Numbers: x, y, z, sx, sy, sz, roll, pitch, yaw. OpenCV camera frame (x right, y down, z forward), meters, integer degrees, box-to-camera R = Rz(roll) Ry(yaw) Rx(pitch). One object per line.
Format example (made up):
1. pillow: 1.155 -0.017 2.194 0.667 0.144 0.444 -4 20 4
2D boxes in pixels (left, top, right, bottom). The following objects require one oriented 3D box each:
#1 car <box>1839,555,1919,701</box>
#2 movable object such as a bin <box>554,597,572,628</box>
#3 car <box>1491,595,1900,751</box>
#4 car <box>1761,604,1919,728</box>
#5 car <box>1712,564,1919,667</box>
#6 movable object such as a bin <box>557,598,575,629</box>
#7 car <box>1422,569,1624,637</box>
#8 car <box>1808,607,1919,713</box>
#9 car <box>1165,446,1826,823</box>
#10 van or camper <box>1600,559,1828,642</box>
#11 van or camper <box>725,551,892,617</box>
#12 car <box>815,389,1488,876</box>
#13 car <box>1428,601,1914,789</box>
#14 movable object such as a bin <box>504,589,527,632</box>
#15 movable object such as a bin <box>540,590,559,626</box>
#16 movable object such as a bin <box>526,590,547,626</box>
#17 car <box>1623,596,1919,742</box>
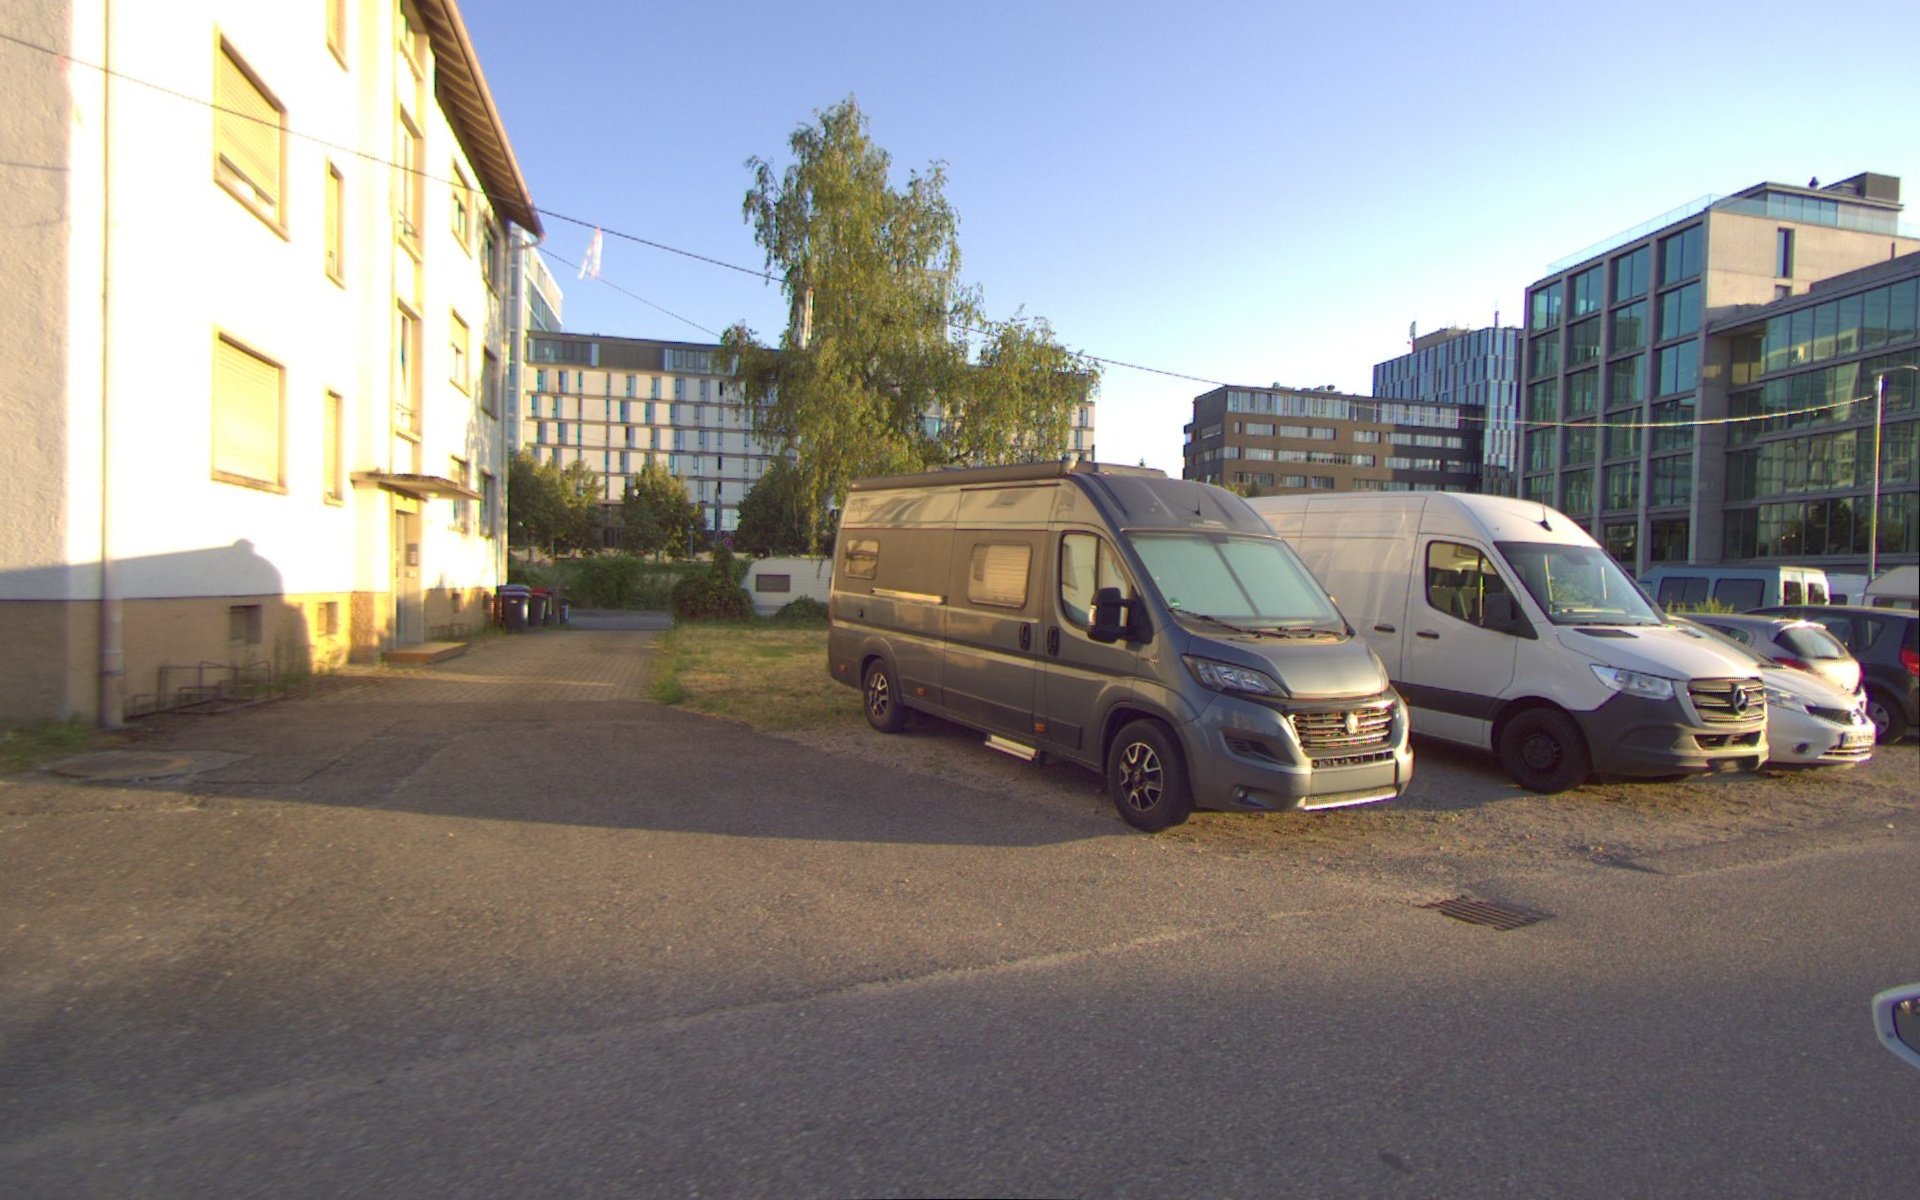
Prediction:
1. car: 18.631 0.602 16.466 2.374 2.568 5.881 1 2 -19
2. movable object such as a bin: -11.714 0.370 29.610 0.436 0.927 0.324 1 0 -30
3. car: 9.303 0.828 13.090 1.725 1.612 3.913 3 0 -25
4. car: 14.180 0.989 14.230 1.720 1.612 4.123 1 2 -17
5. car: 25.856 0.354 29.253 2.186 2.709 6.242 1 2 -15
6. movable object such as a bin: -11.853 0.402 30.202 0.436 0.927 0.324 1 0 -30
7. car: 14.004 0.018 25.316 1.948 1.496 4.368 1 2 -14
8. car: 16.411 1.061 15.947 1.723 1.612 4.117 2 2 -22
9. car: 4.807 0.123 10.352 2.024 2.750 5.803 1 3 -27
10. van or camper: 19.060 -0.045 25.658 1.901 1.916 4.335 1 2 -16
11. van or camper: -5.179 -0.520 34.347 5.488 2.087 1.769 1 0 -15
12. car: 0.957 0.059 8.939 2.089 2.749 6.355 2 2 -31
13. car: 7.362 0.855 10.881 1.765 1.527 3.914 2 1 -25
14. movable object such as a bin: -10.074 0.241 22.771 0.436 0.981 0.324 1 0 -30
15. movable object such as a bin: -10.830 0.214 26.498 0.436 0.927 0.324 1 0 -30
16. movable object such as a bin: -10.924 0.209 25.909 0.436 0.927 0.324 1 0 -30
17. car: 11.451 0.818 13.590 1.720 1.612 3.923 1 1 -17
